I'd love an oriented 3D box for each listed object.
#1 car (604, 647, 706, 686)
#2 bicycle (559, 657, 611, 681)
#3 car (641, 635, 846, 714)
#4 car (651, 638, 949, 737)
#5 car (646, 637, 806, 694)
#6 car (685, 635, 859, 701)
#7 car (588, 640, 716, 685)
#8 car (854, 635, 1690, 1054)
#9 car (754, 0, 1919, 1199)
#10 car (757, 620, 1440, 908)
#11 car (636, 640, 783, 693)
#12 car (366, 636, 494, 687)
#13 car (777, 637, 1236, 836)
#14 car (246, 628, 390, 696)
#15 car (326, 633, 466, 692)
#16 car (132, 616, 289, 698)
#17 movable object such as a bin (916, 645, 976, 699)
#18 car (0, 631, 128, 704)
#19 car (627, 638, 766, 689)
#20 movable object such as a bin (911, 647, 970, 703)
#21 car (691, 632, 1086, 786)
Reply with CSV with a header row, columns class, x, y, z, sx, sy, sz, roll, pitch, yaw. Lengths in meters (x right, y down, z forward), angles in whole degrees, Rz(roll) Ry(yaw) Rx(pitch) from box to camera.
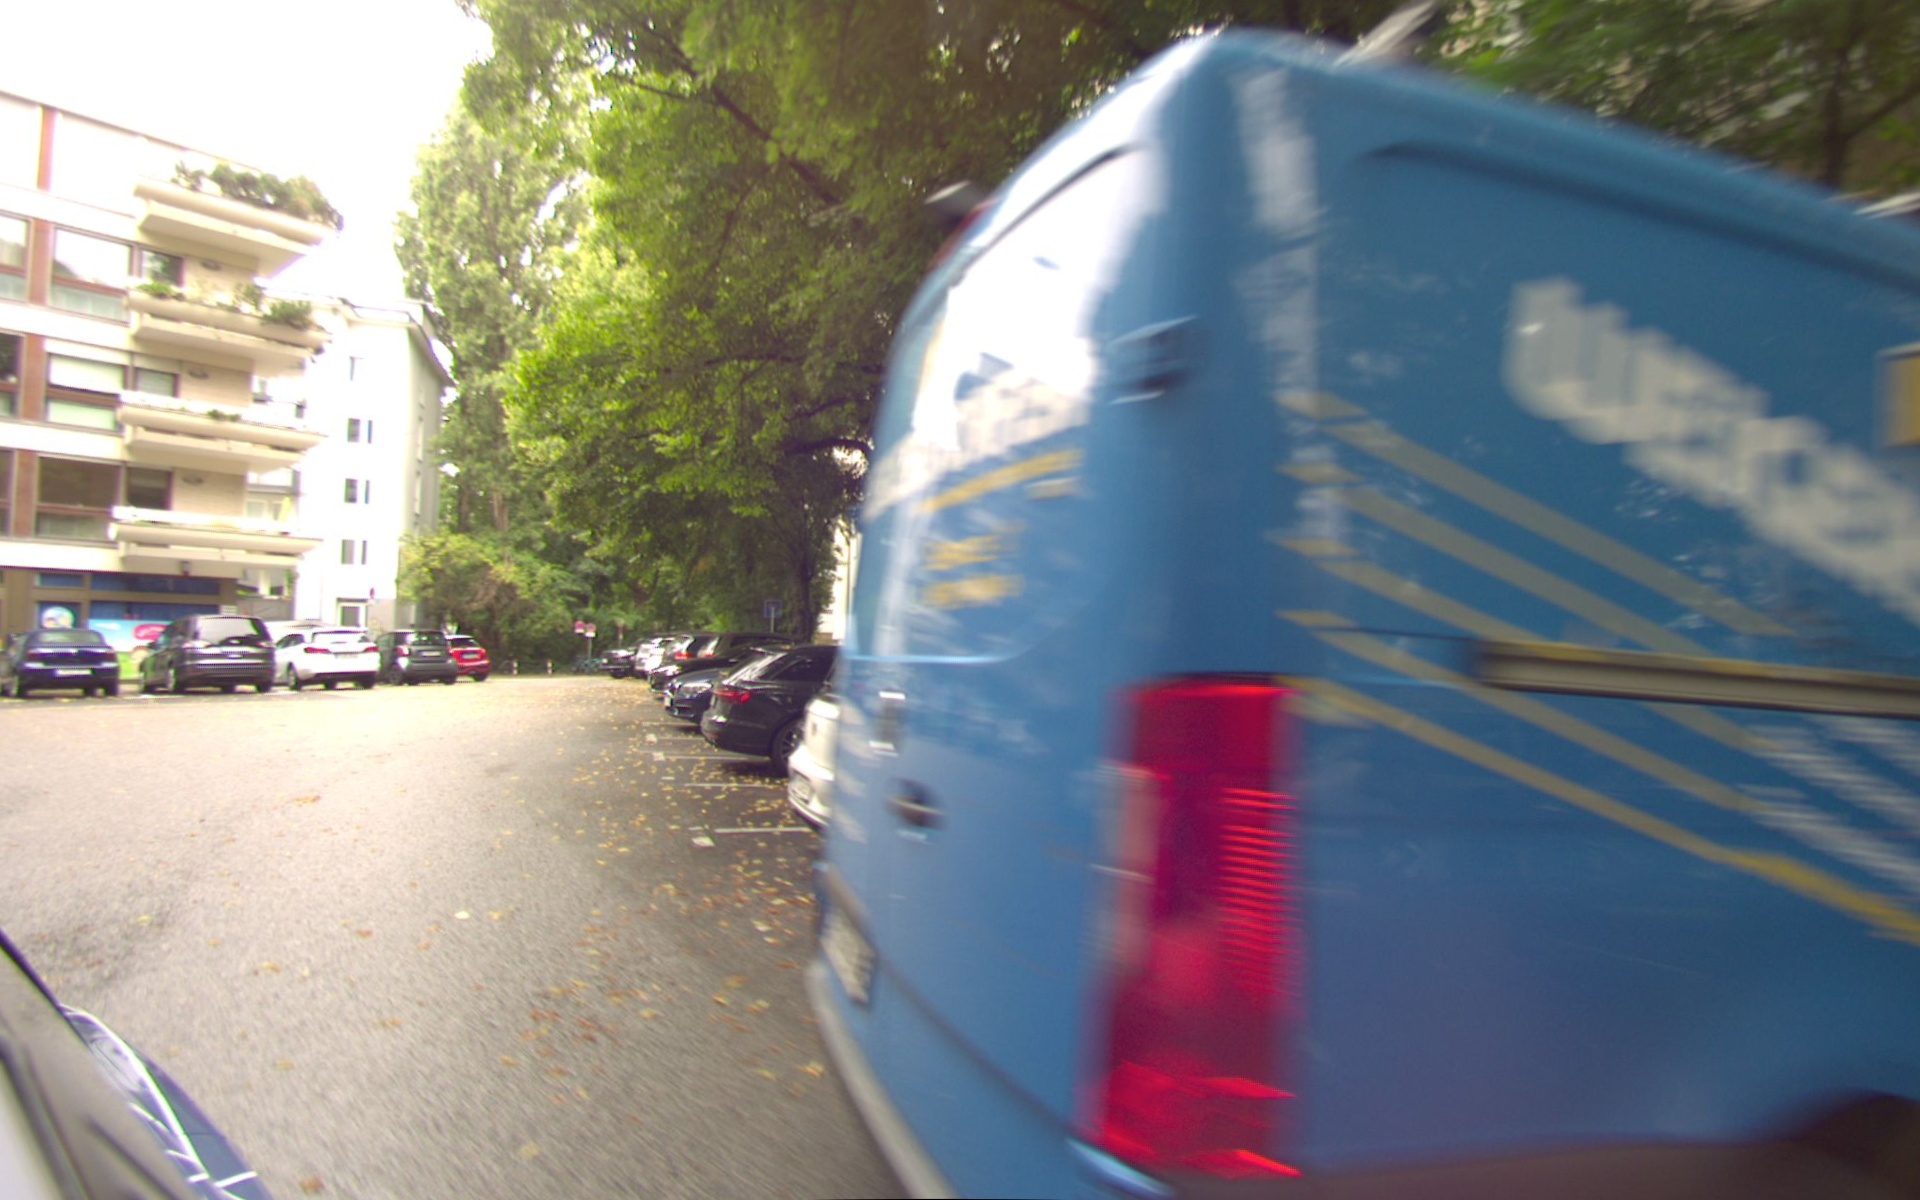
class,x,y,z,sx,sy,sz,roll,pitch,yaw
car,-12.747,2.761,42.509,1.718,1.489,3.957,0,-3,31
bicycle,-19.226,3.542,51.947,2.428,1.127,0.828,2,-3,-17
car,-4.855,1.650,22.616,4.215,1.478,1.715,4,-2,-19
car,-2.524,1.394,16.057,4.267,1.394,1.851,3,-4,-25
car,-6.415,1.784,27.978,3.938,1.442,1.799,3,-3,-42
car,-4.755,1.712,25.638,3.955,1.542,1.850,2,-3,-27
car,-10.463,2.097,34.649,2.052,1.412,3.964,0,-3,26
car,1.423,0.975,4.861,3.493,1.443,1.649,4,-3,-19
car,2.392,0.416,2.728,5.401,2.372,2.072,4,-4,-19
car,0.930,1.117,6.961,4.212,1.524,1.809,6,-5,-20
car,-7.411,1.959,30.186,1.724,1.442,3.943,-1,-3,43
car,-16.447,1.875,31.350,3.987,1.409,1.737,0,-3,33
car,0.375,1.228,9.265,3.686,1.436,1.839,6,-5,-19
car,-15.773,1.564,24.810,3.996,1.491,1.811,-5,-6,39
car,-15.725,1.771,28.185,3.990,1.491,1.814,-4,-6,35
car,-17.045,1.342,22.960,4.229,1.697,1.877,-4,-5,39
movable object such as a bin,-0.355,1.832,25.861,1.349,1.358,0.717,2,-3,-21
car,-18.969,1.434,21.179,4.069,1.378,1.694,-4,-5,41
car,-8.494,2.044,32.817,1.875,1.521,3.943,-1,-3,43
movable object such as a bin,-0.499,1.881,25.625,1.136,1.359,1.157,1,-2,-23
car,-0.863,1.231,11.548,4.092,1.436,1.869,4,-4,-17
